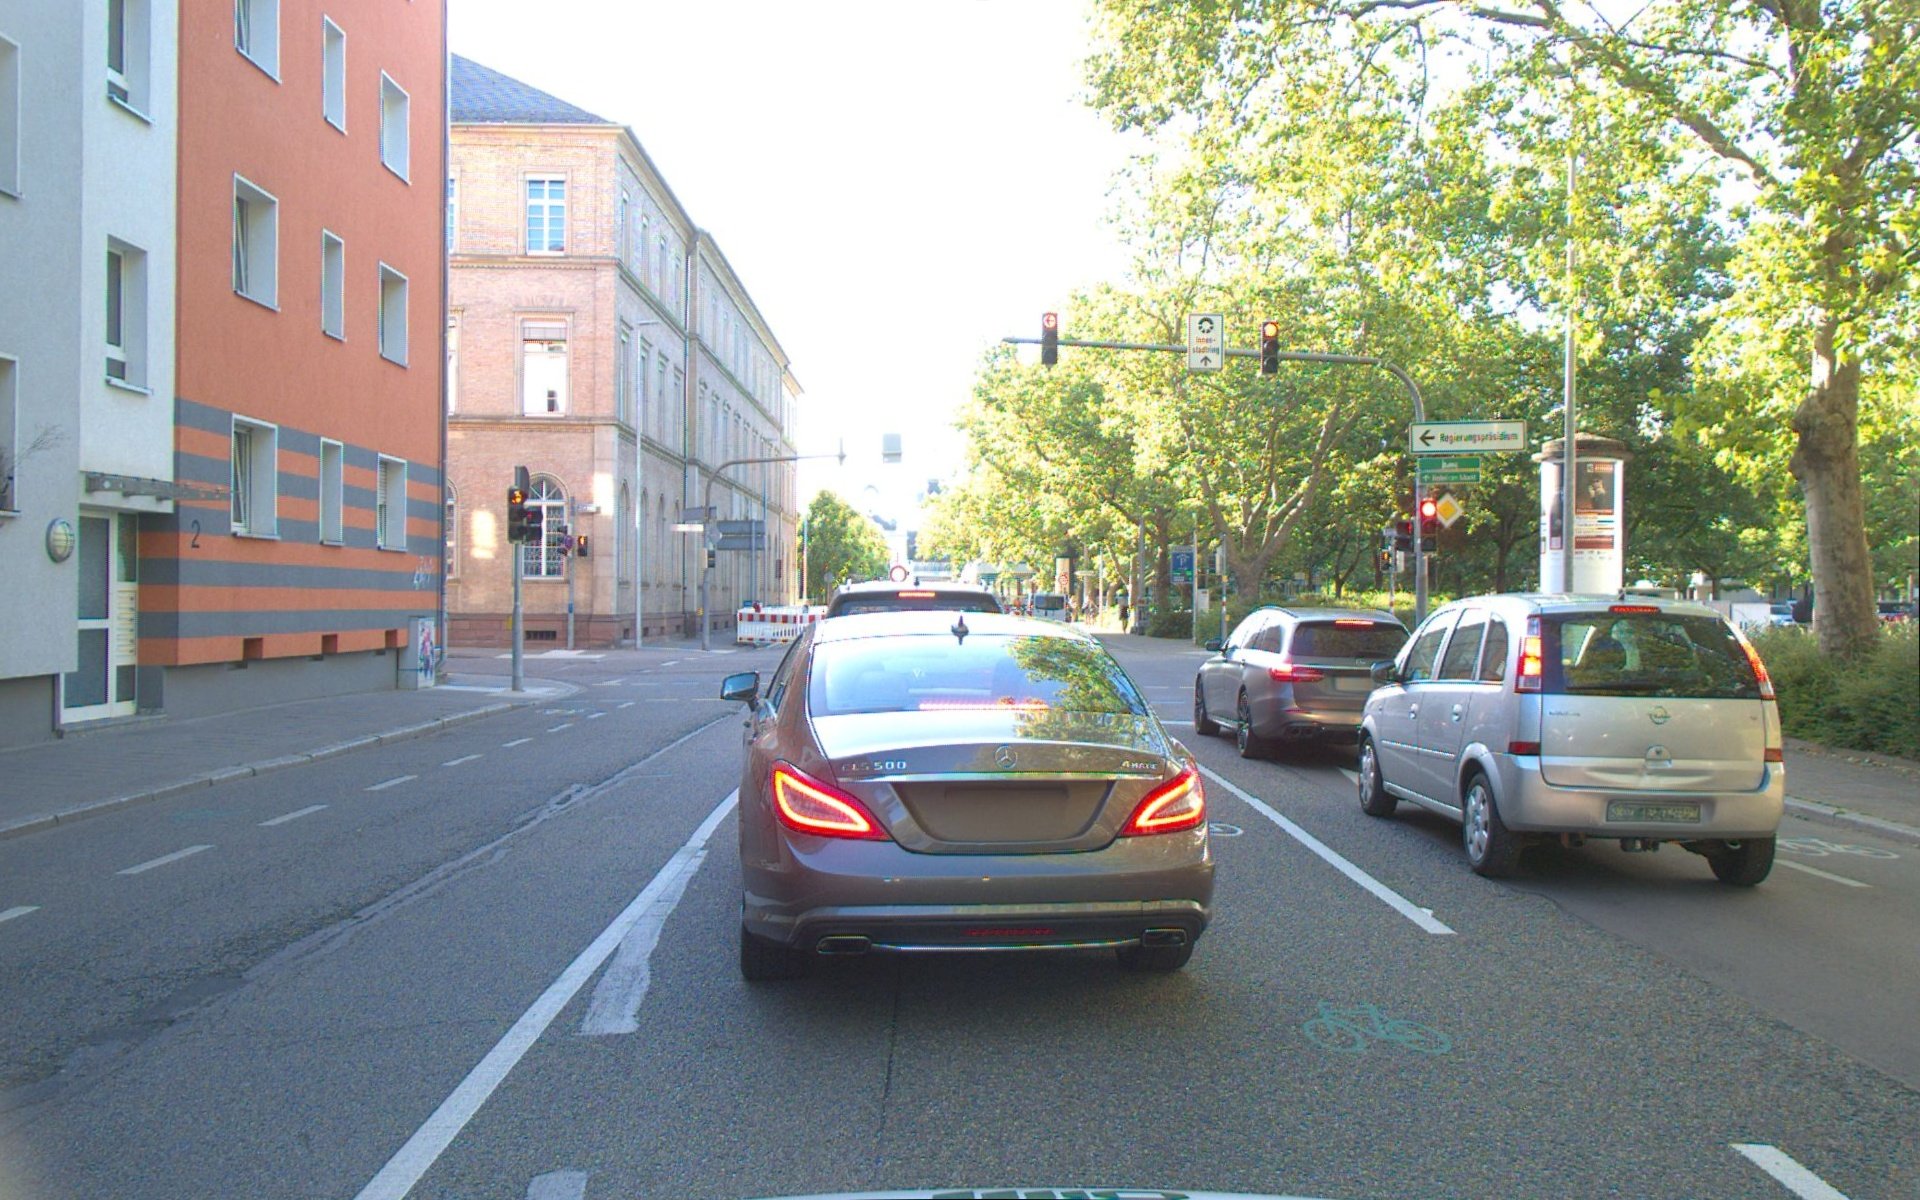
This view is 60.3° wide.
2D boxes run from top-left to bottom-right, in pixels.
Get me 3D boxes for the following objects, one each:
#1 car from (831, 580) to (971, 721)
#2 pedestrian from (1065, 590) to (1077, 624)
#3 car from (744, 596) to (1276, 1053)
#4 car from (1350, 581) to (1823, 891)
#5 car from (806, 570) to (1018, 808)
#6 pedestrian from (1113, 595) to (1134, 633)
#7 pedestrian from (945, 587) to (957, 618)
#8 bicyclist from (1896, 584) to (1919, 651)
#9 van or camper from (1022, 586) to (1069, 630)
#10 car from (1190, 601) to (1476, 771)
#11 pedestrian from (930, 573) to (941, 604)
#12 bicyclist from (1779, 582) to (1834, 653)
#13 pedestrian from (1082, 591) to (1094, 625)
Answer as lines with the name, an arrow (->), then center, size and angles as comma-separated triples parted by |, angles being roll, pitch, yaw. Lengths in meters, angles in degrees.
car -> -0.783, 0.644, 23.227 | 1.783, 1.793, 3.999 | 0, 0, -1
pedestrian -> 6.041, 0.380, 90.165 | 0.591, 1.853, 0.651 | 1, 0, -1
car -> -0.091, 0.734, 7.667 | 1.769, 1.482, 4.343 | 1, 0, -8
car -> 3.786, 0.720, 10.729 | 1.666, 1.631, 3.860 | 1, 0, 1
car -> -0.433, 0.629, 13.680 | 1.487, 1.675, 3.878 | 1, 0, -3
pedestrian -> 7.102, 0.591, 72.010 | 0.813, 1.634, 0.651 | 1, 0, -1
pedestrian -> -0.601, 0.164, 109.741 | 0.710, 2.049, 0.748 | 1, 0, -5
bicyclist -> 22.215, 0.402, 37.943 | 1.094, 1.516, 0.711 | 0, 0, -1
van or camper -> 3.951, 0.335, 77.187 | 1.953, 1.975, 4.594 | 1, 0, 0
car -> 3.753, 0.787, 17.522 | 1.874, 1.490, 4.668 | 2, 0, -1
pedestrian -> -1.635, -0.733, 109.924 | 0.710, 2.049, 0.748 | 0, 0, -5
bicyclist -> 20.124, 0.415, 39.319 | 0.995, 1.671, 0.607 | 1, 0, -7
pedestrian -> 6.950, 0.432, 89.955 | 0.591, 1.853, 0.651 | 1, 0, -1
